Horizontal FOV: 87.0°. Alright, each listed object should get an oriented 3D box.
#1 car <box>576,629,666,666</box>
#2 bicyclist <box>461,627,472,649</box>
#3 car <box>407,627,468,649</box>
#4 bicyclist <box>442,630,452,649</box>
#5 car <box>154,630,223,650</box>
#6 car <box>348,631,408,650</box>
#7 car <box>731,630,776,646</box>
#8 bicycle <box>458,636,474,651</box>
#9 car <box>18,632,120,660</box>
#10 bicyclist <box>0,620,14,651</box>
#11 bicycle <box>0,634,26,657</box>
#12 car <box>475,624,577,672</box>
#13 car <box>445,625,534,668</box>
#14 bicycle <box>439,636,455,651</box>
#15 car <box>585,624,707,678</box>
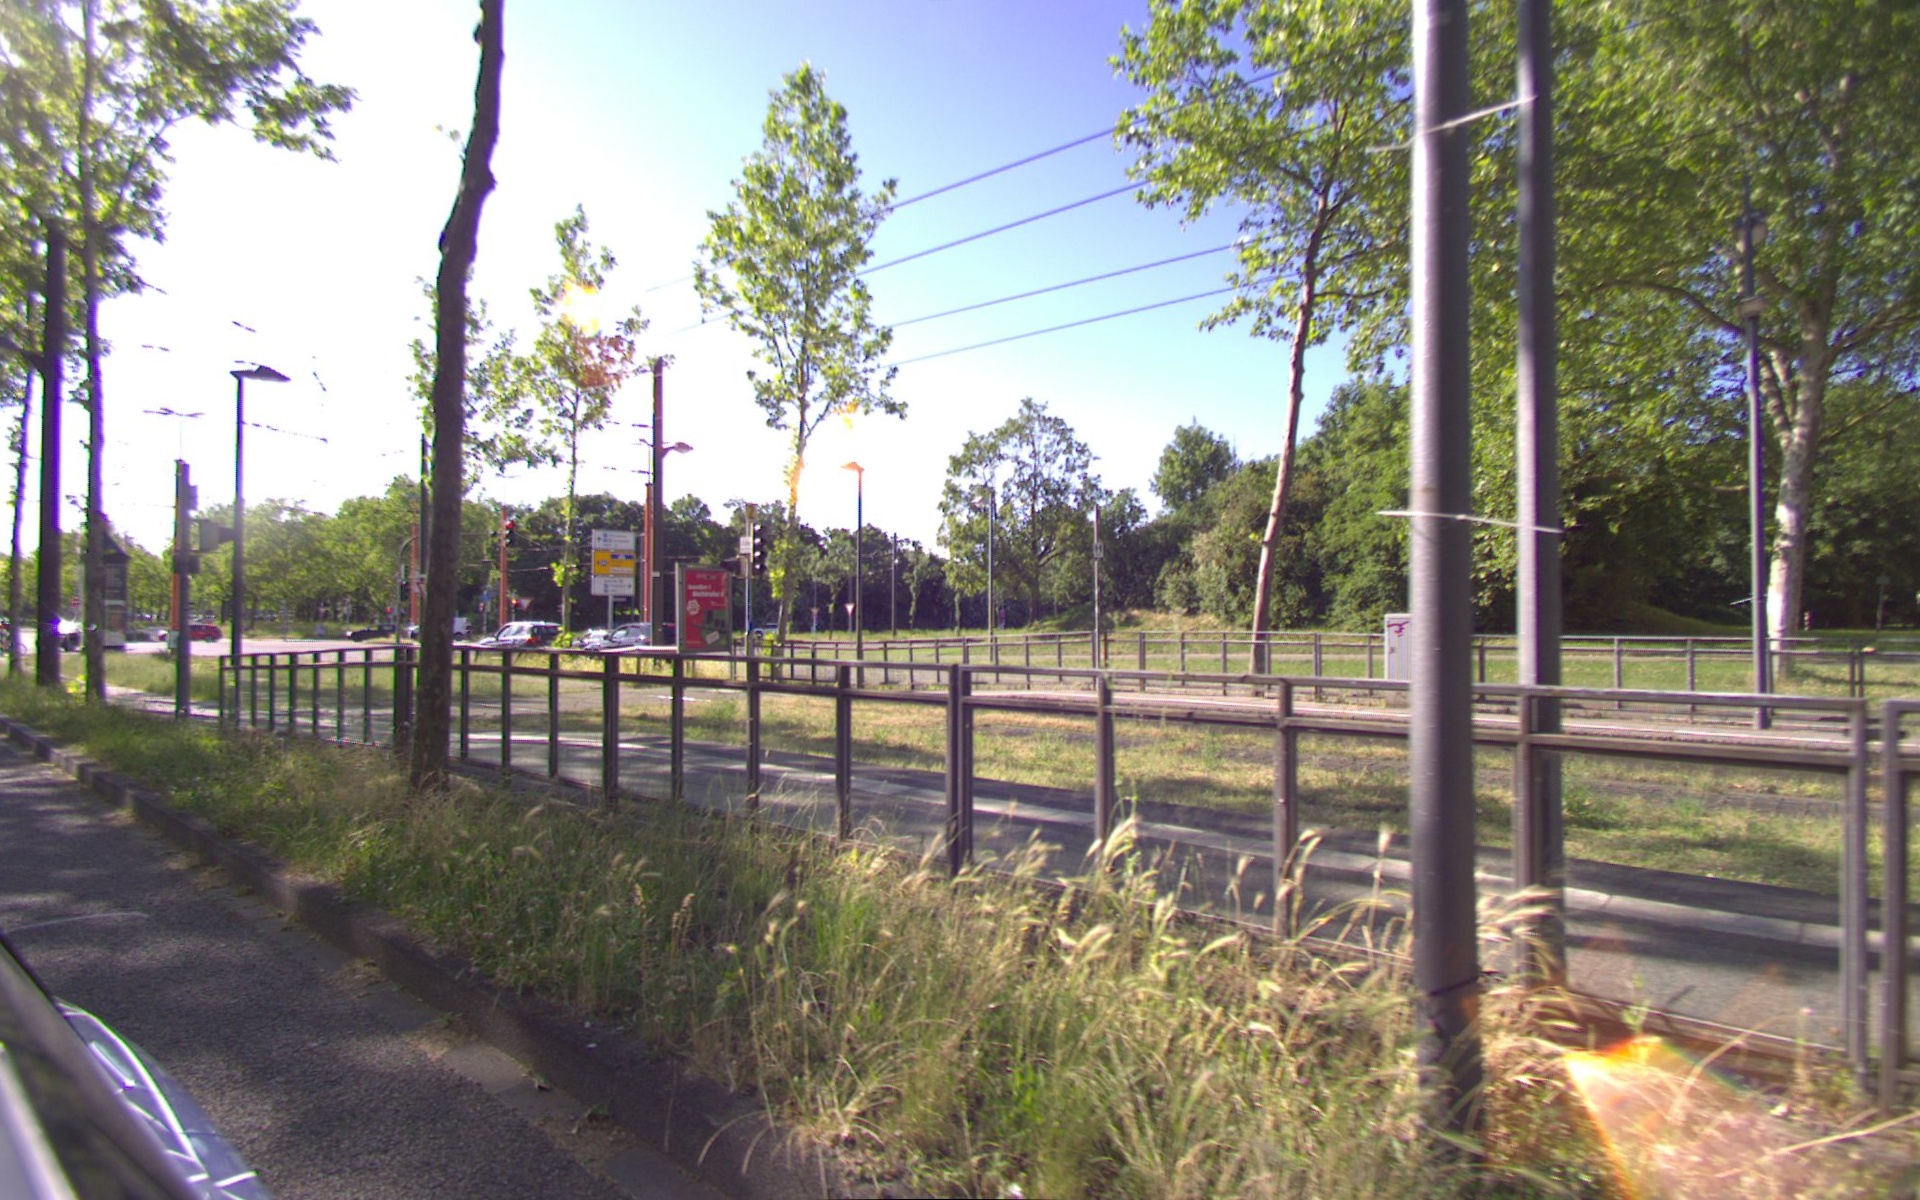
[{"bbox_3d":[-14.827,2.045,44.208,4.263,1.522,1.776,-1,-2,40],"label":"car"},{"bbox_3d":[-38.150,2.923,78.189,0.715,1.665,0.554,-2,-2,44],"label":"bicyclist"},{"bbox_3d":[-44.261,3.223,85.813,4.478,1.850,1.806,1,-2,-22],"label":"car"},{"bbox_3d":[-39.128,2.990,77.193,0.778,1.458,0.493,-2,-2,44],"label":"bicyclist"},{"bbox_3d":[-60.467,3.129,79.394,3.930,1.522,1.806,1,-2,-22],"label":"car"},{"bbox_3d":[-46.833,3.241,81.543,3.930,1.522,1.806,1,-2,-22],"label":"car"},{"bbox_3d":[-19.522,3.583,95.593,3.930,1.522,1.806,1,-2,-22],"label":"car"},{"bbox_3d":[-38.150,3.360,78.177,1.800,1.116,0.554,-1,-2,44],"label":"bicycle"},{"bbox_3d":[-52.014,2.675,59.215,1.766,1.522,4.622,-1,-2,3],"label":"car"},{"bbox_3d":[-46.462,1.719,48.892,0.940,1.489,0.705,0,-1,-25],"label":"bicyclist"},{"bbox_3d":[-46.465,2.198,48.881,1.868,1.116,0.705,0,-1,-25],"label":"bicycle"},{"bbox_3d":[-15.766,1.707,36.700,4.232,1.629,1.775,-1,-2,42],"label":"car"},{"bbox_3d":[-19.028,1.865,40.866,4.232,1.629,1.775,-2,-2,42],"label":"car"},{"bbox_3d":[-39.128,3.338,77.184,1.800,1.116,0.493,-1,-2,44],"label":"bicycle"},{"bbox_3d":[-10.025,1.581,32.200,4.266,1.620,1.775,-1,-2,42],"label":"car"}]
